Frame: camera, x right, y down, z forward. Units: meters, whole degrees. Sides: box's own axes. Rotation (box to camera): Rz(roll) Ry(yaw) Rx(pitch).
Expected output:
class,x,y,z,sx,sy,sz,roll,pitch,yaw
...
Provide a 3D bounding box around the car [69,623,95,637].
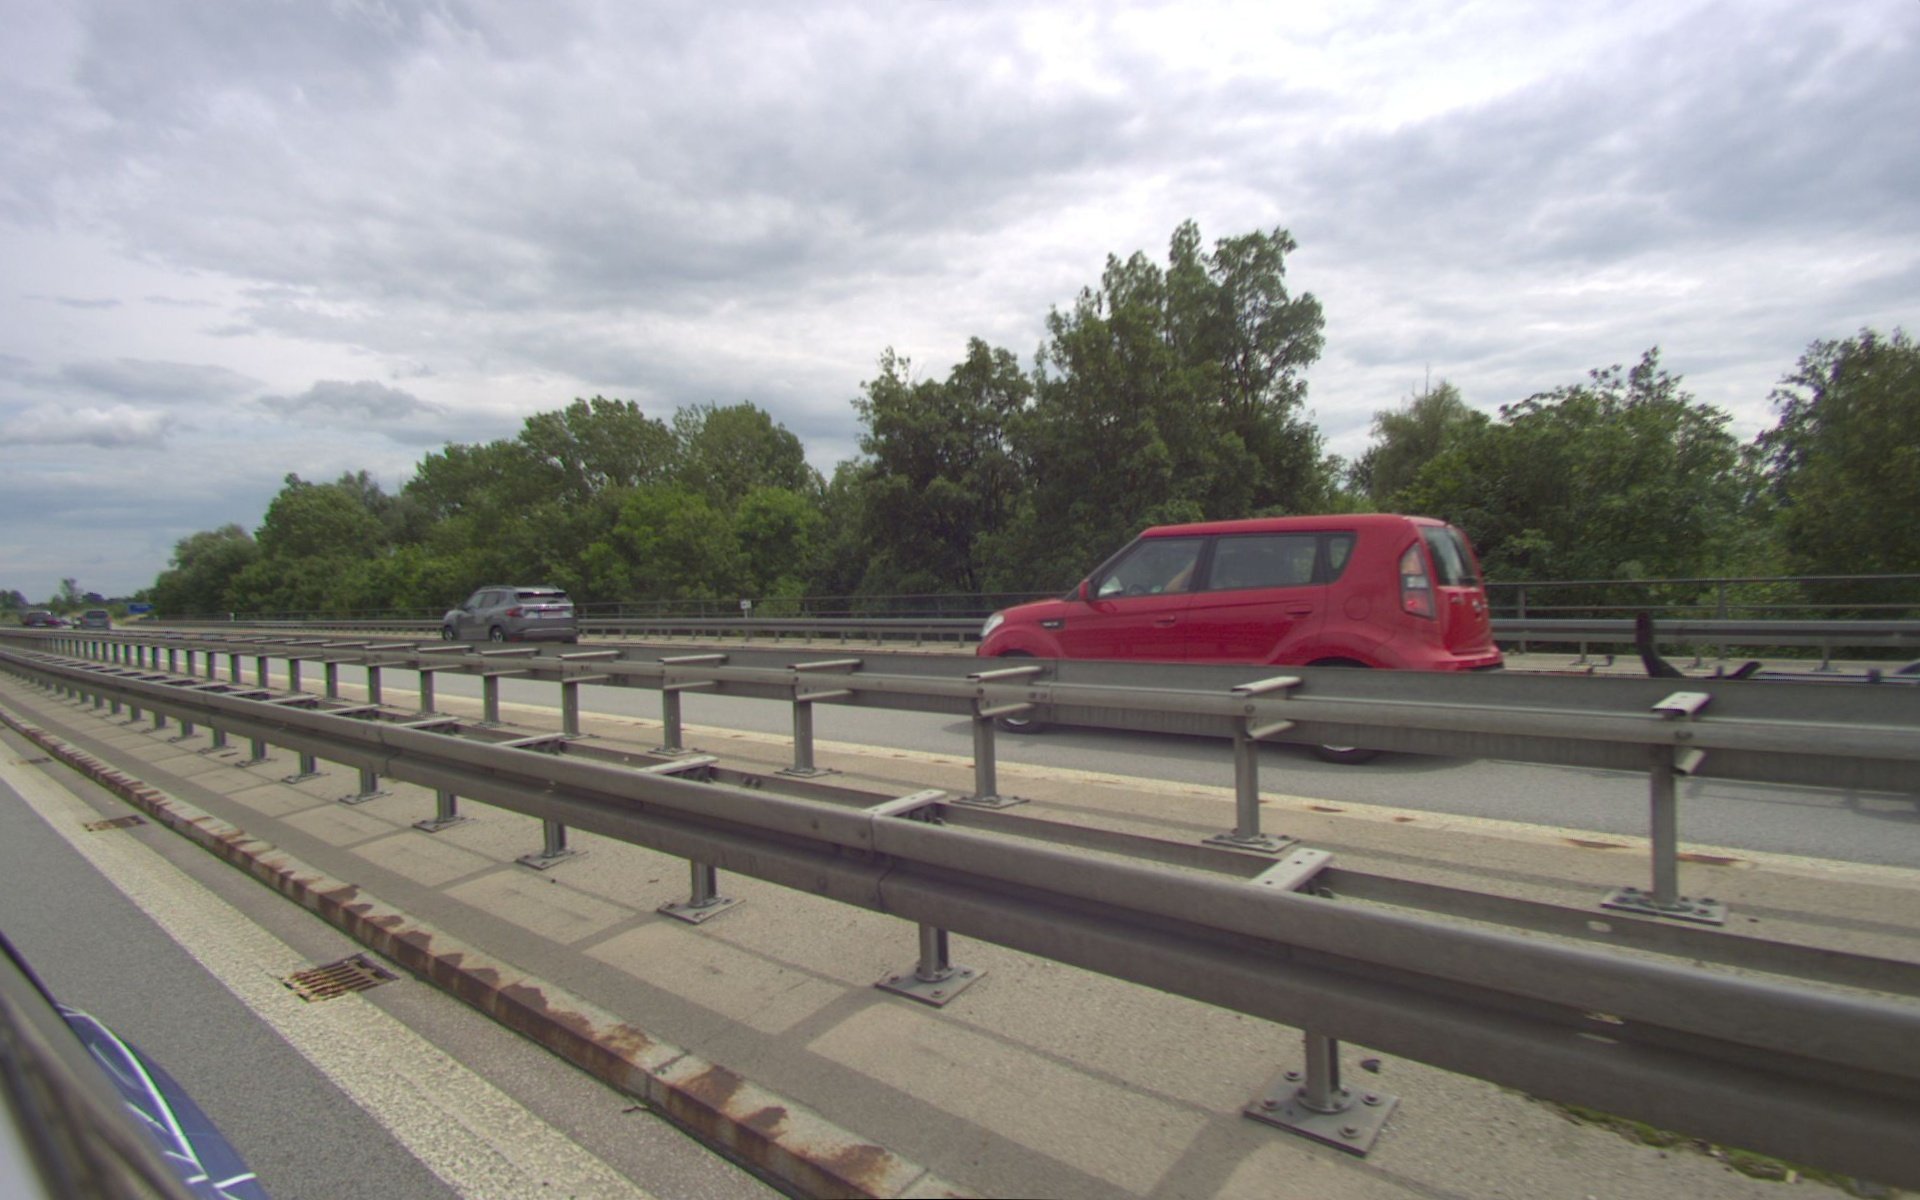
class,x,y,z,sx,sy,sz,roll,pitch,yaw
car,-97.572,3.346,112.451,4.944,1.420,1.718,-1,0,44

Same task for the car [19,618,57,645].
class,x,y,z,sx,sy,sz,roll,pitch,yaw
car,-59.477,2.042,65.259,4.002,1.617,1.625,-1,0,45

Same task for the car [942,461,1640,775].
class,x,y,z,sx,sy,sz,roll,pitch,yaw
car,2.173,0.118,7.508,4.566,1.653,1.794,-1,0,41

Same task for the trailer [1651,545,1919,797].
class,x,y,z,sx,sy,sz,roll,pitch,yaw
trailer,5.368,0.303,4.661,3.449,1.133,1.543,-1,-1,41

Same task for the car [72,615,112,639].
class,x,y,z,sx,sy,sz,roll,pitch,yaw
car,-67.821,2.114,79.058,4.226,1.758,1.971,-1,0,44

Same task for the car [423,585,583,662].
class,x,y,z,sx,sy,sz,roll,pitch,yaw
car,-10.878,0.536,23.953,4.566,1.653,1.692,-1,-1,41

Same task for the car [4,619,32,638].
class,x,y,z,sx,sy,sz,roll,pitch,yaw
car,-81.070,2.430,87.102,1.625,1.561,4.003,-2,0,-44

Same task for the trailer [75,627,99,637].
class,x,y,z,sx,sy,sz,roll,pitch,yaw
trailer,-94.338,3.457,109.355,4.001,0.959,1.650,-1,0,44

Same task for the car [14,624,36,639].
class,x,y,z,sx,sy,sz,roll,pitch,yaw
car,-98.078,3.257,106.136,1.671,1.447,4.114,-2,0,-43
